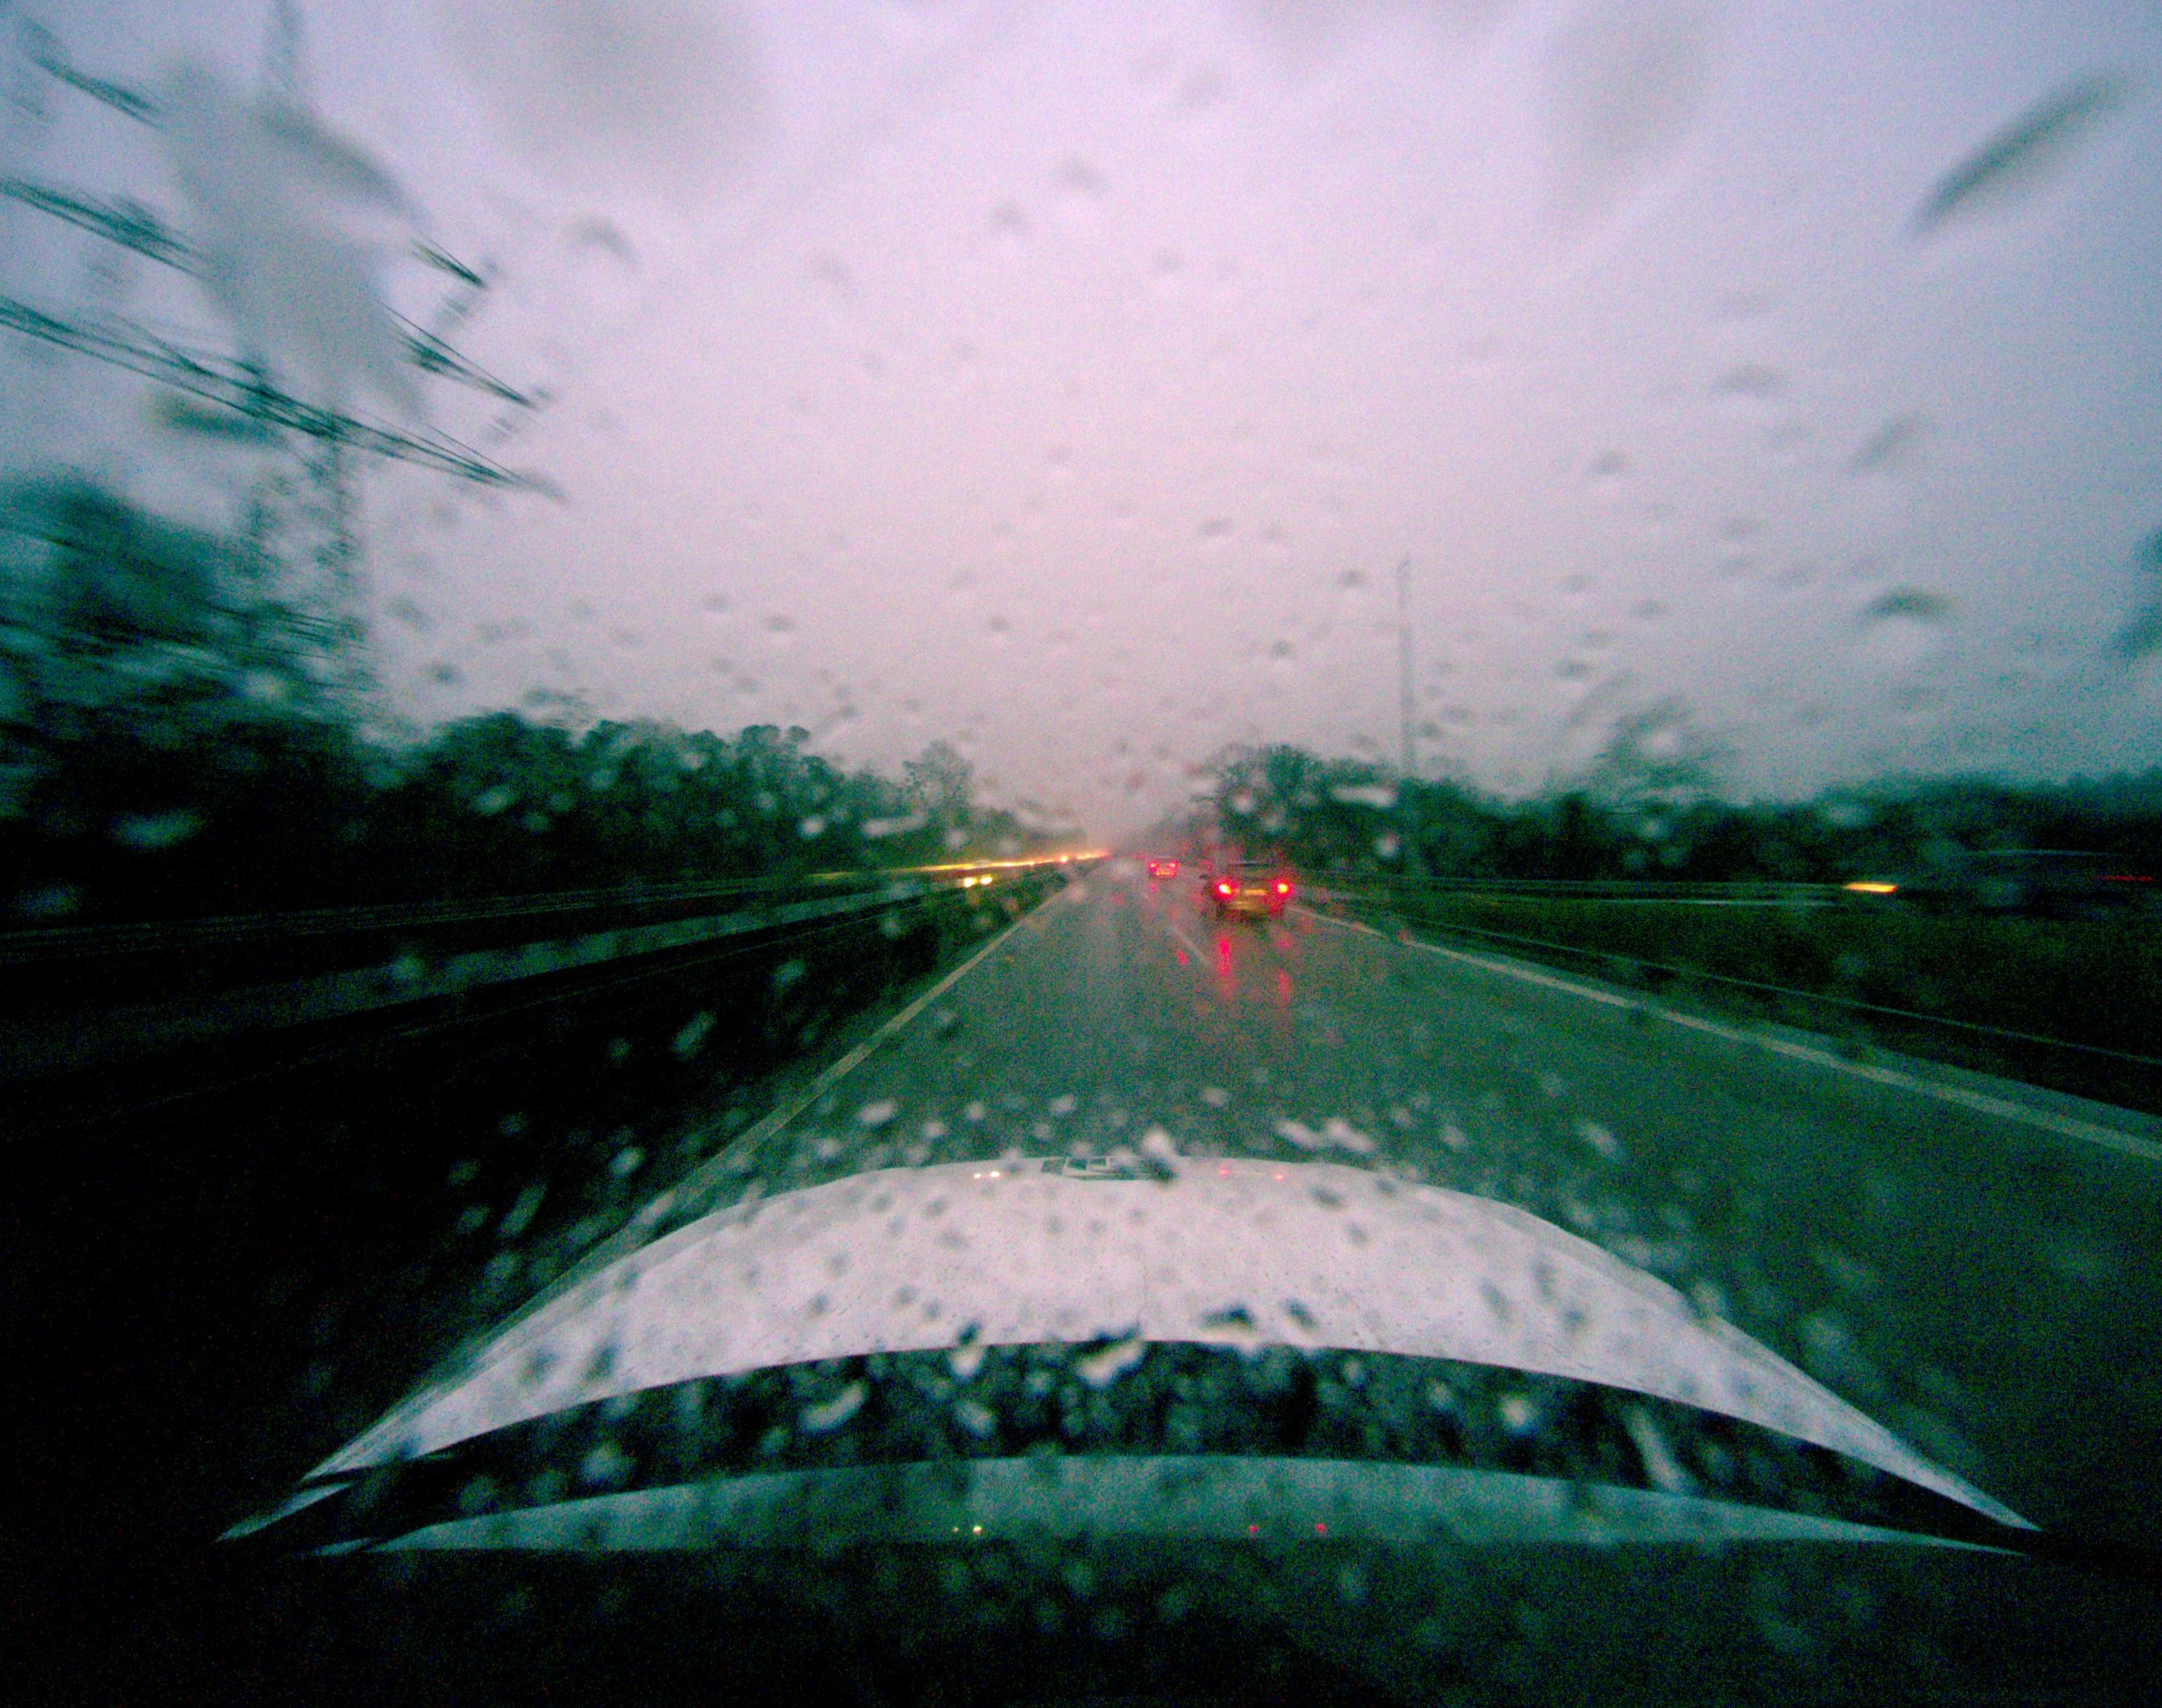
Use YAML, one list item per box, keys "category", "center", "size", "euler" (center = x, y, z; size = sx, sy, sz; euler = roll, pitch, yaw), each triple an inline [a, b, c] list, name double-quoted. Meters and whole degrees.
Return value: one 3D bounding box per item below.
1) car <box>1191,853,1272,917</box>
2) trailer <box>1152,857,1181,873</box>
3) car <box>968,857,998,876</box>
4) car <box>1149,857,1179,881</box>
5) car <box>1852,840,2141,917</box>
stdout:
- category: "car"
  center: [3.795, 0.729, 21.083]
  size: [1.588, 1.491, 3.597]
  euler: [-1, 0, 3]
- category: "trailer"
  center: [5.610, 0.695, 53.679]
  size: [1.741, 0.925, 2.953]
  euler: [-3, 0, 3]
- category: "car"
  center: [-8.422, 1.056, 70.520]
  size: [1.790, 1.571, 4.756]
  euler: [-1, 0, 2]
- category: "car"
  center: [5.784, 1.017, 57.074]
  size: [1.779, 1.516, 3.814]
  euler: [-3, 0, 3]
- category: "car"
  center: [18.777, 0.471, 17.005]
  size: [3.771, 1.434, 1.805]
  euler: [-1, 0, 40]
